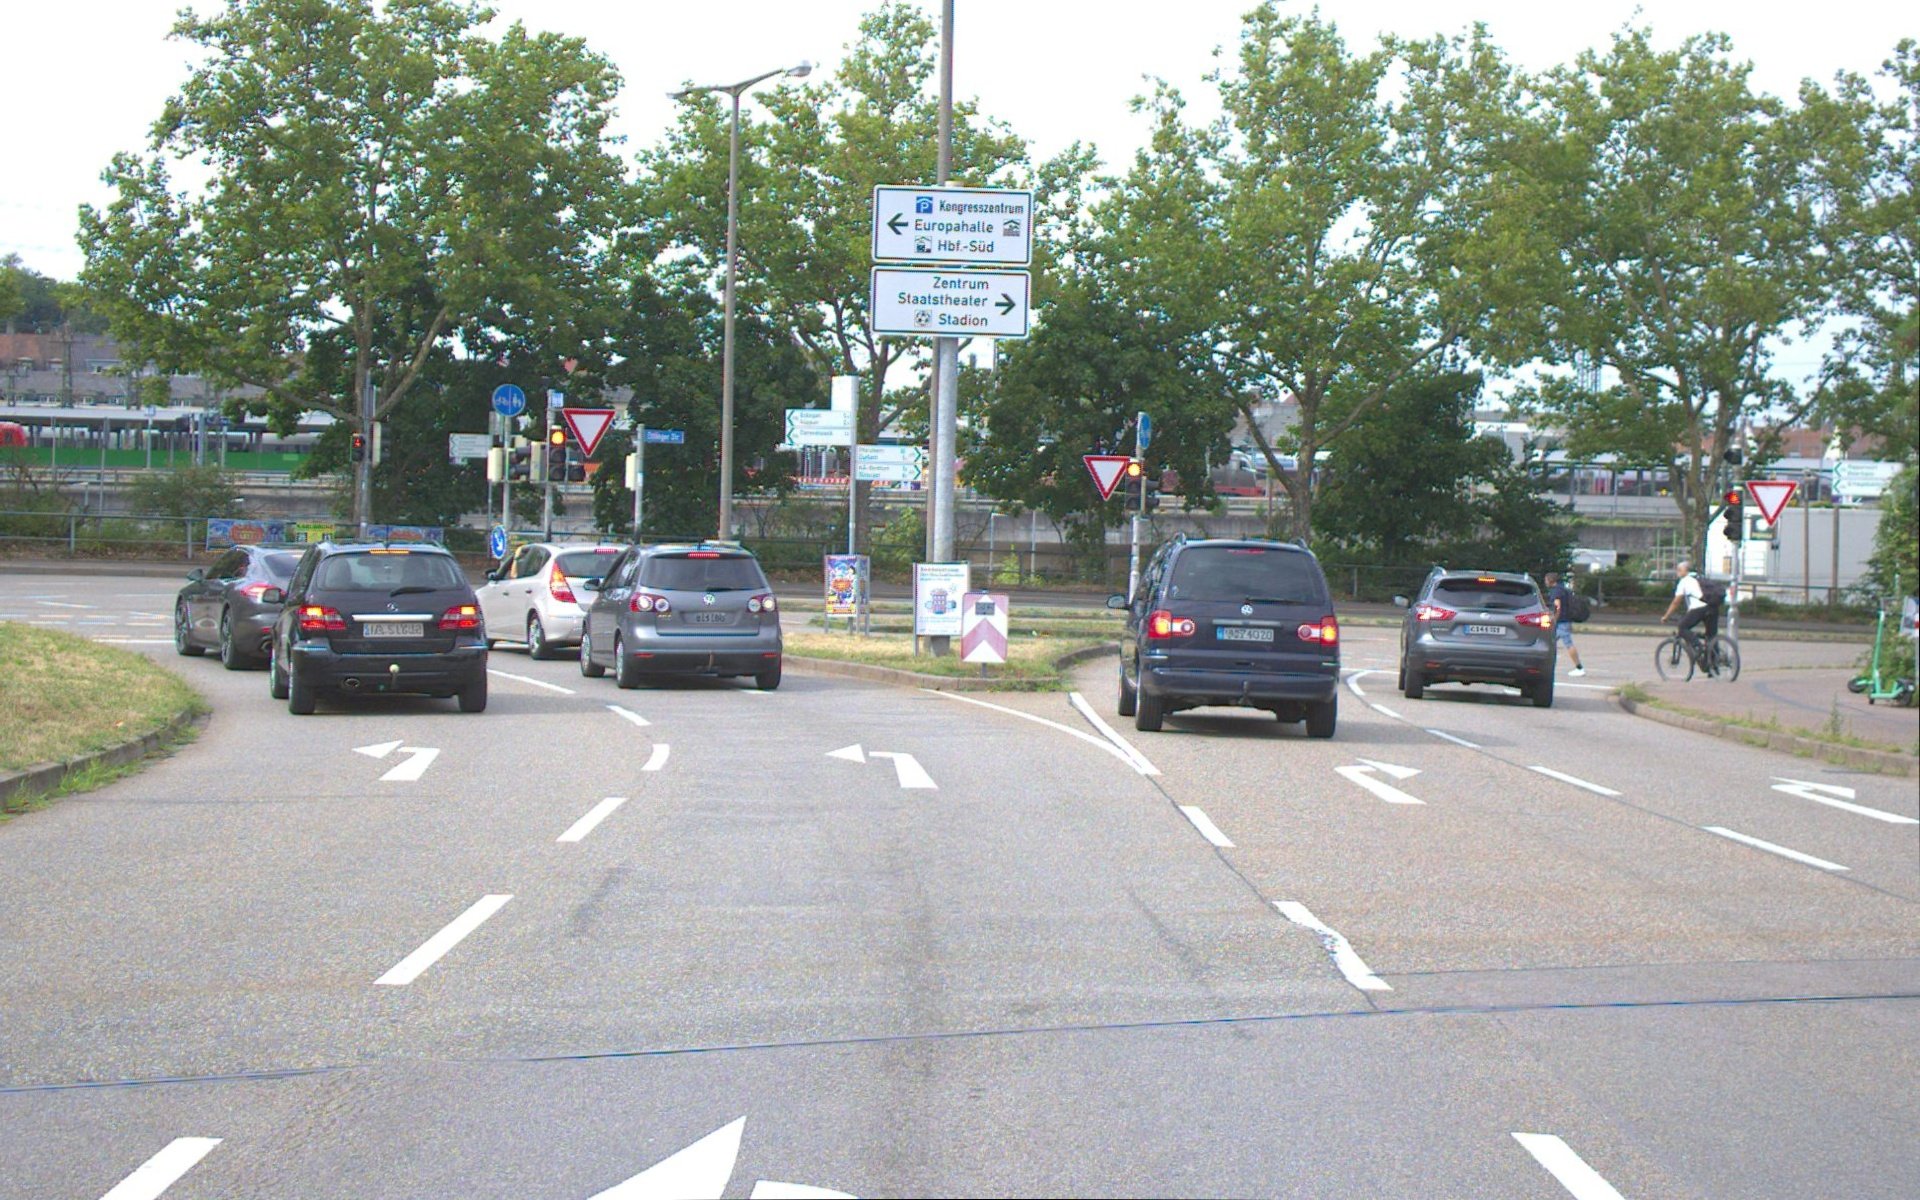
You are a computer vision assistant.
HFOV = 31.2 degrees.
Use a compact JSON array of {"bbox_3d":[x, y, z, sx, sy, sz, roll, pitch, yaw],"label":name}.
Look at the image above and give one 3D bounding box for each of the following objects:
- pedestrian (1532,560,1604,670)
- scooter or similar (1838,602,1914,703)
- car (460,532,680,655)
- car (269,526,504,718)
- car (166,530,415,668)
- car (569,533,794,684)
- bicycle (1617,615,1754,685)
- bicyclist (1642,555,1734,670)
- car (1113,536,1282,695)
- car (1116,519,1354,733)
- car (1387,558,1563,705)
[{"bbox_3d":[9.733,0.235,55.017,1.047,1.704,0.853,3,1,11],"label":"pedestrian"},{"bbox_3d":[10.974,0.619,41.218,0.396,1.179,1.281,1,0,-7],"label":"scooter or similar"},{"bbox_3d":[-5.085,-0.117,44.386,1.740,1.477,4.083,1,1,-23],"label":"car"},{"bbox_3d":[-5.457,0.161,32.370,1.756,1.570,4.038,2,2,-15],"label":"car"},{"bbox_3d":[-7.901,-0.048,40.228,1.818,1.409,4.778,1,1,-24],"label":"car"},{"bbox_3d":[-3.126,0.059,37.848,1.740,1.541,4.083,1,1,-15],"label":"car"},{"bbox_3d":[10.926,0.742,51.827,0.809,0.949,2.236,1,1,-25],"label":"bicycle"},{"bbox_3d":[10.957,0.185,51.783,0.810,1.690,1.116,1,1,-25],"label":"bicyclist"},{"bbox_3d":[2.654,0.152,38.236,1.691,1.580,4.155,3,1,4],"label":"car"},{"bbox_3d":[2.432,0.201,31.328,1.750,1.719,4.138,3,1,0],"label":"car"},{"bbox_3d":[6.356,0.360,42.784,1.750,1.637,4.137,3,1,4],"label":"car"}]
